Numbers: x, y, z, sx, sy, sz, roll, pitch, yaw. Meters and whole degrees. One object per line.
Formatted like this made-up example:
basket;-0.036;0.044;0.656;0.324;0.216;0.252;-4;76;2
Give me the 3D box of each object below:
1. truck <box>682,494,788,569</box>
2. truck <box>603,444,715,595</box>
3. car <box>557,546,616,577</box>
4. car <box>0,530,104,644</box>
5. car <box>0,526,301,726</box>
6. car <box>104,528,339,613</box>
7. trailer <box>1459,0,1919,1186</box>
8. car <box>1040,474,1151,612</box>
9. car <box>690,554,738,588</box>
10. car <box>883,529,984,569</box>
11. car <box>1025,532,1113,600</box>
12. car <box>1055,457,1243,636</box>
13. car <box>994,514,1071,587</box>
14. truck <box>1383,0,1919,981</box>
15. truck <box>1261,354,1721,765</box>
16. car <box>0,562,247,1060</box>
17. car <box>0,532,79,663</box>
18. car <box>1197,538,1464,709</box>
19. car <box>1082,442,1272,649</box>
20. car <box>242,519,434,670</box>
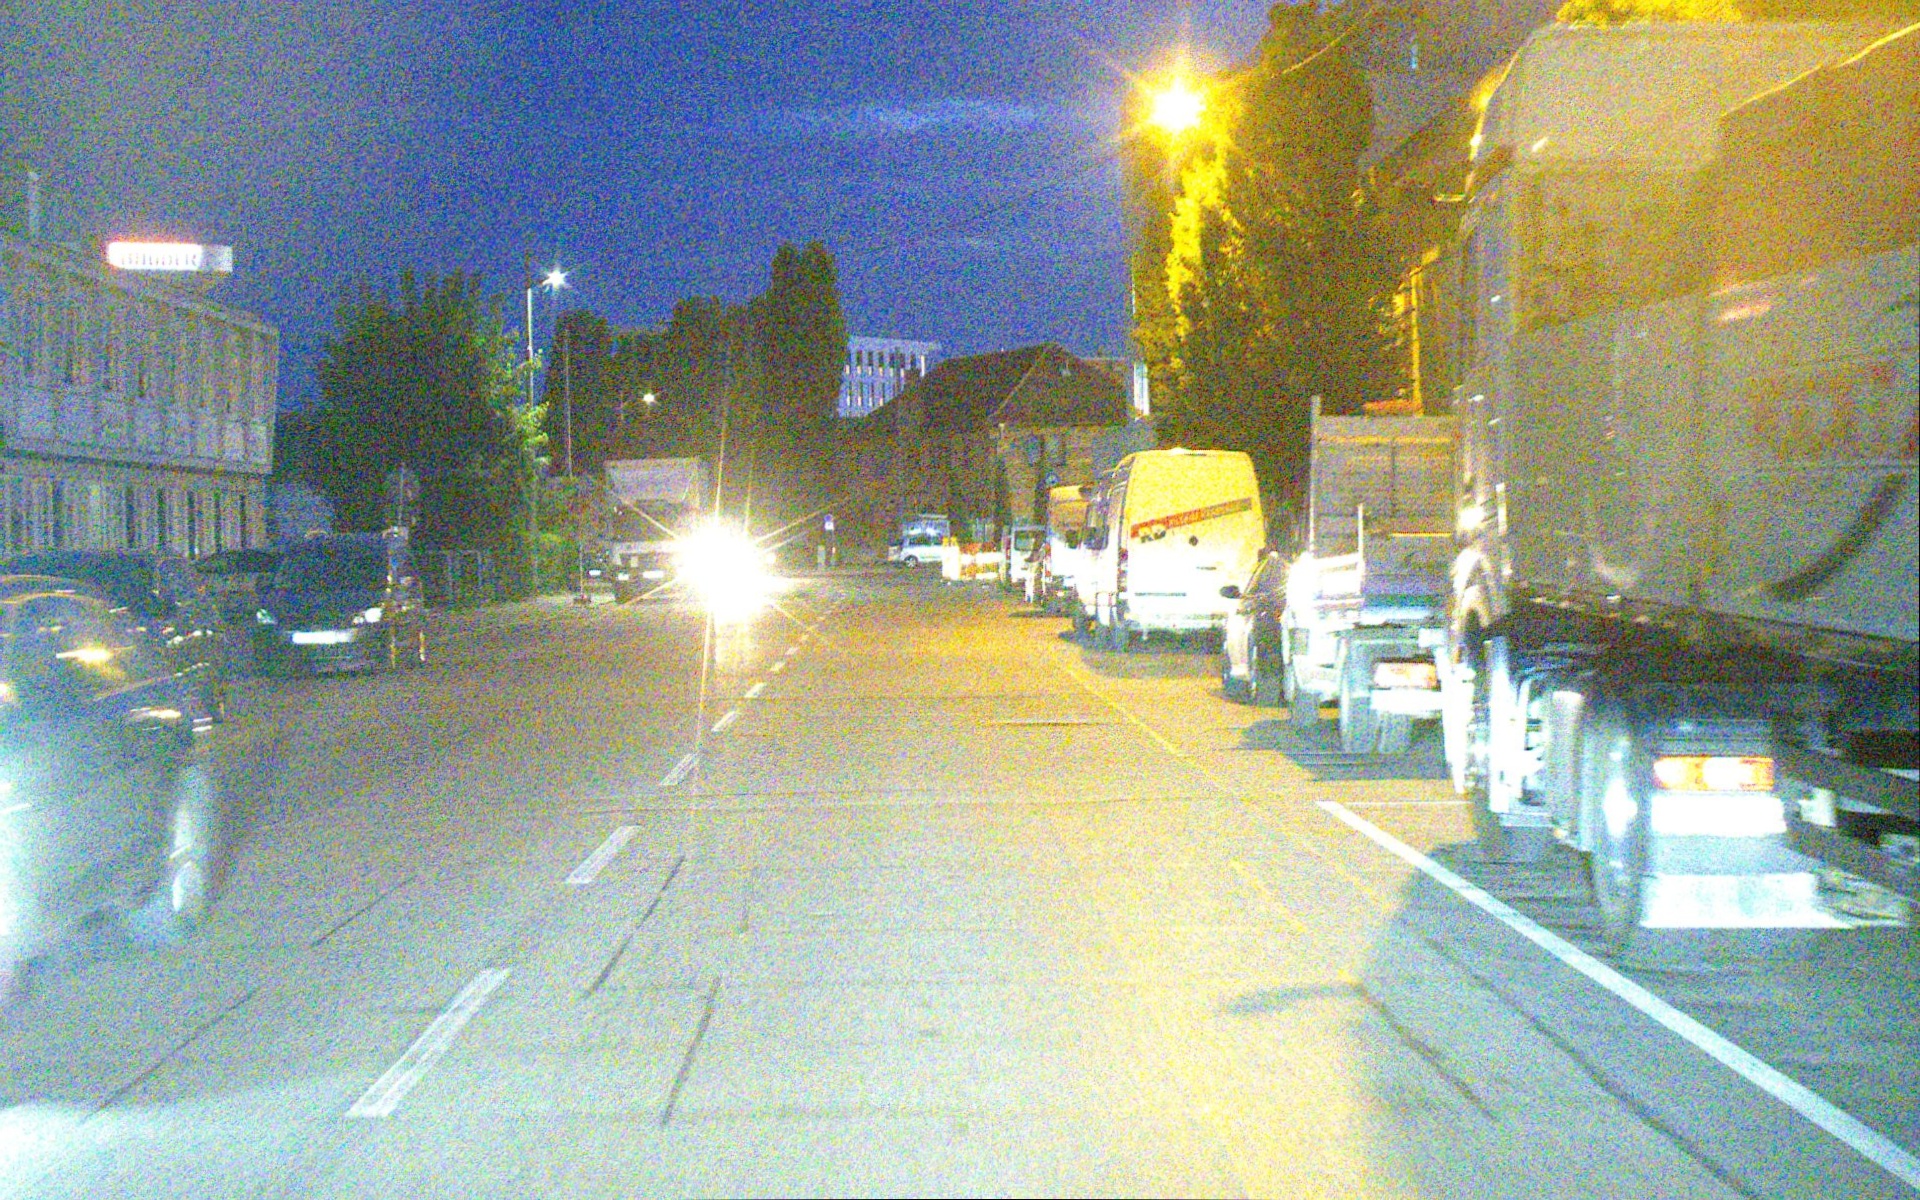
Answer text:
truck;-11.756;-3.504;179.029;2.754;3.770;9.139;-1;1;-22
truck;-8.396;-2.230;96.894;2.746;4.020;9.561;-1;1;-3
car;-17.247;-1.778;158.625;1.814;1.366;4.362;-1;1;-19
car;-13.332;-0.143;43.706;4.400;1.435;1.794;-1;1;-30
car;-7.560;0.173;31.661;1.947;1.682;4.816;-1;1;1
car;-14.722;-0.609;68.605;4.132;1.427;1.895;4;2;17
trailer;3.672;-0.474;7.805;2.765;3.751;14.657;1;1;-1
car;2.607;-1.130;67.281;1.993;2.517;5.909;2;1;1
car;-10.479;-1.241;146.529;1.857;1.415;4.000;-1;1;-2
car;-1.252;-2.407;162.170;4.325;1.640;1.893;-4;2;-22
car;2.499;-0.810;79.294;1.946;1.484;5.010;-1;1;1
car;2.859;-0.850;53.390;2.128;2.562;5.910;2;1;-4
car;2.081;-1.439;99.560;1.993;2.007;4.912;-1;1;-1
truck;3.572;-0.553;14.806;2.765;3.751;5.228;1;1;-1
truck;3.658;-0.324;25.108;2.401;2.585;6.597;0;1;1
car;-3.767;0.623;11.619;1.820;1.432;4.398;-1;1;-1
car;-13.117;-0.002;41.054;4.656;1.546;2.000;-1;1;-30
car;3.368;0.162;32.167;1.829;1.403;4.909;2;1;-1
car;2.861;-0.749;46.591;1.993;2.562;6.015;2;1;-1
car;-8.027;-0.103;44.709;1.813;1.843;4.415;-1;1;-2
